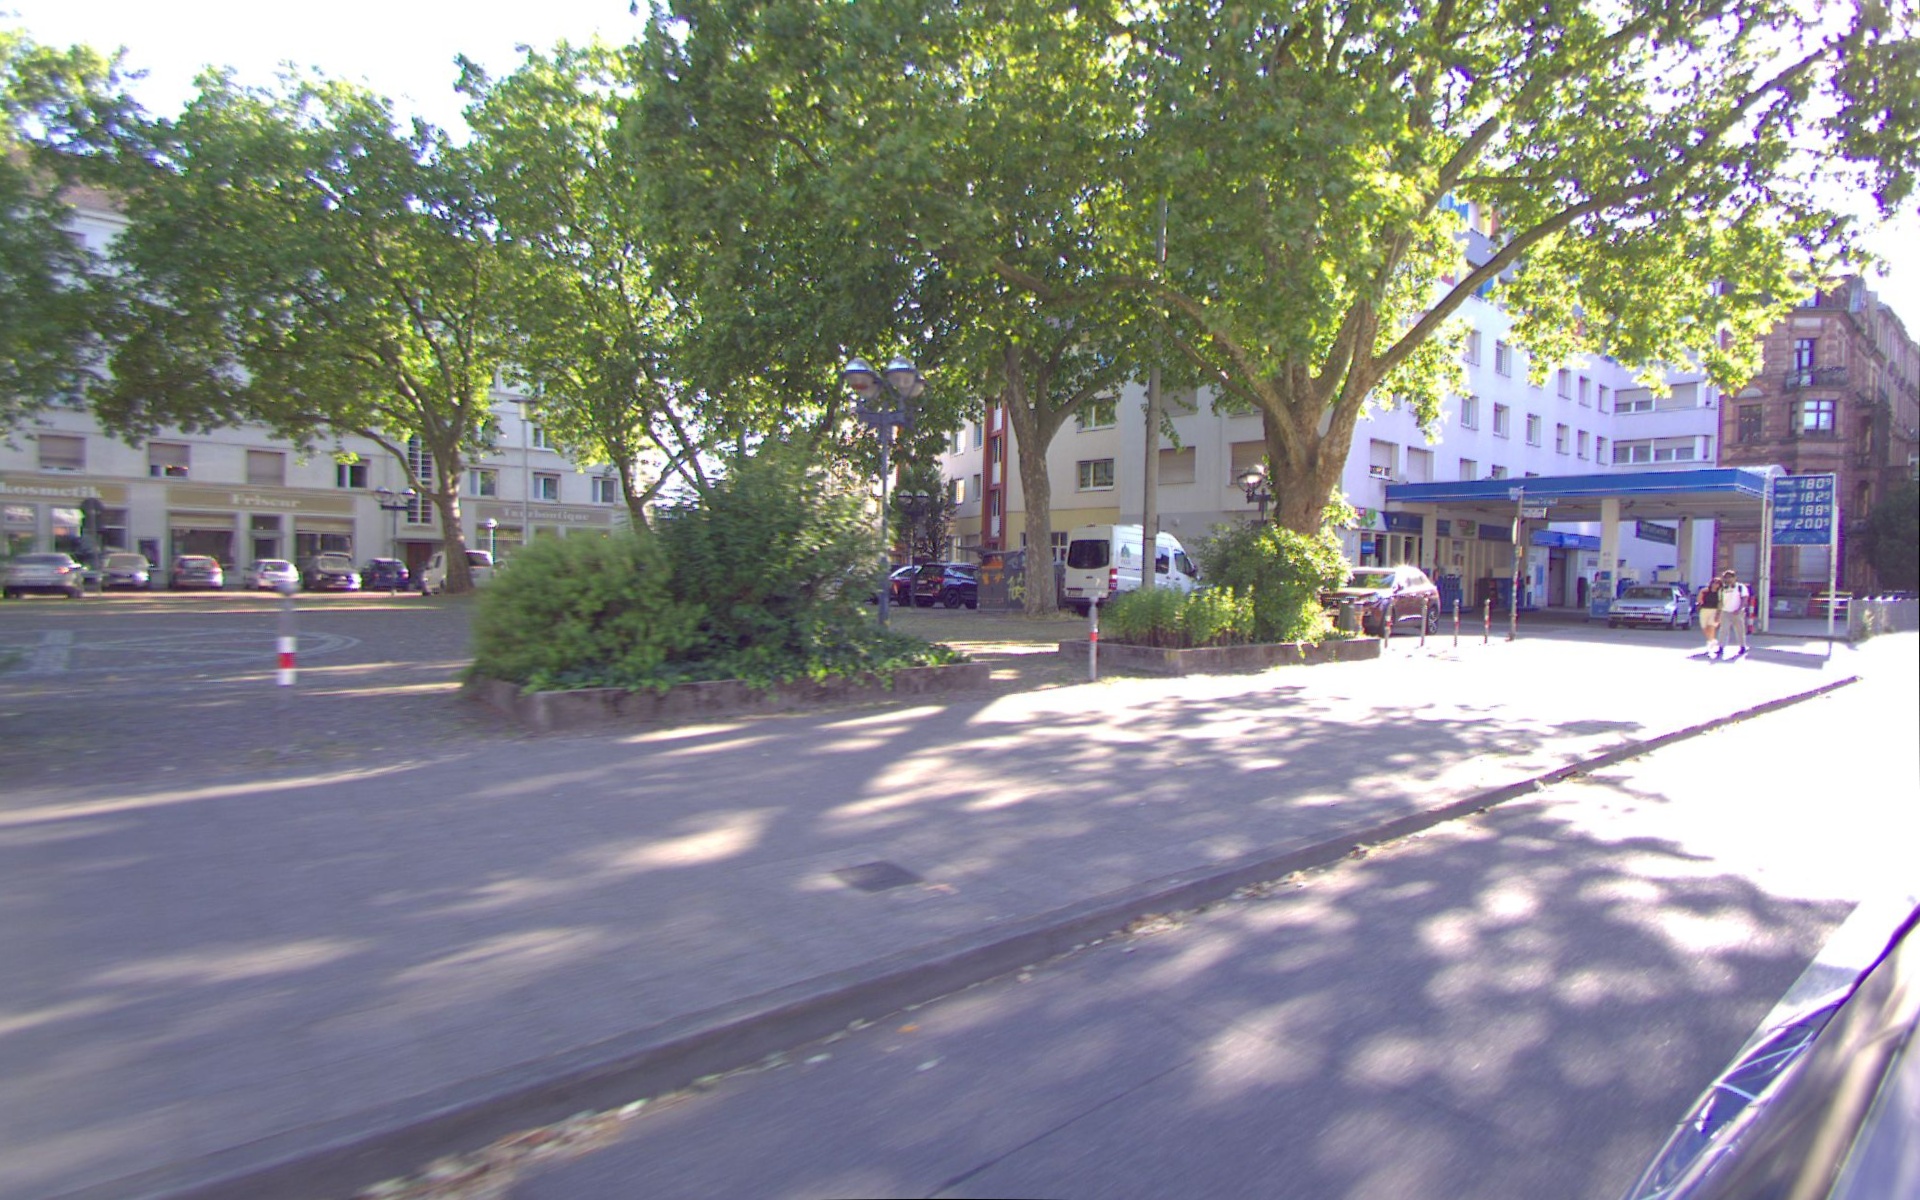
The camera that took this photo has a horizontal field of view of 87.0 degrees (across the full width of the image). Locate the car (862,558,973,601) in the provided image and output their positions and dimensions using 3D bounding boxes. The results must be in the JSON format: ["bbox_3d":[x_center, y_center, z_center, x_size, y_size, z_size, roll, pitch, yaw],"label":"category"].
[{"bbox_3d":[-1.552,-0.761,38.335,4.110,1.521,1.707,0,1,-44],"label":"car"}]

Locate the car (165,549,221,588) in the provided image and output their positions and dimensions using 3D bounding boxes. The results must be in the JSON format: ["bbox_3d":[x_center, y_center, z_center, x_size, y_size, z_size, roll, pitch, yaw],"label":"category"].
[{"bbox_3d":[-33.913,-1.406,44.696,1.748,1.498,4.350,-1,4,-40],"label":"car"}]

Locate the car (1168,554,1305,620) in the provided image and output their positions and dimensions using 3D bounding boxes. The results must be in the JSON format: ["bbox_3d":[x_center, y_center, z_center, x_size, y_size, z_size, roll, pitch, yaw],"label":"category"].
[{"bbox_3d":[7.680,-0.355,27.915,4.110,1.680,1.803,0,1,-44],"label":"car"}]

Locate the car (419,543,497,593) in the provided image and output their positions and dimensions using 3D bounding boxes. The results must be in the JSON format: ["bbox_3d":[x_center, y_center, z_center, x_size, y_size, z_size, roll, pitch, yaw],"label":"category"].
[{"bbox_3d":[-20.966,-1.290,42.202,2.012,1.940,3.994,-1,1,-40],"label":"car"}]

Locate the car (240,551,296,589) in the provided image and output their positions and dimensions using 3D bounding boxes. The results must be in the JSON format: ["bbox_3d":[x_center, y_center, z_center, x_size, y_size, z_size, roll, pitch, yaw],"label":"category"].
[{"bbox_3d":[-32.099,-1.414,46.895,1.748,1.498,4.350,-1,4,-40],"label":"car"}]

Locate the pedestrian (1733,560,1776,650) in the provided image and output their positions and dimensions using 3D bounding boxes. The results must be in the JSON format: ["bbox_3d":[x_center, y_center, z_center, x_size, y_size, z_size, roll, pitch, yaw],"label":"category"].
[{"bbox_3d":[16.726,0.098,21.304,0.531,1.867,0.630,0,0,-43],"label":"pedestrian"}]

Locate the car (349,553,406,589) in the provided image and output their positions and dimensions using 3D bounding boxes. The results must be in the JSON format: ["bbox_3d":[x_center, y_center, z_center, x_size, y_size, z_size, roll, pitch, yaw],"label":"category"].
[{"bbox_3d":[-28.896,-1.465,50.160,1.748,1.539,4.350,-1,4,-40],"label":"car"}]

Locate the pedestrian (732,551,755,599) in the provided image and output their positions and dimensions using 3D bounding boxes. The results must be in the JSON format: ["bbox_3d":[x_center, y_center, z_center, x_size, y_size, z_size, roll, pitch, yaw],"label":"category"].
[{"bbox_3d":[-7.386,-0.848,34.530,0.620,1.633,0.540,0,0,-37],"label":"pedestrian"}]

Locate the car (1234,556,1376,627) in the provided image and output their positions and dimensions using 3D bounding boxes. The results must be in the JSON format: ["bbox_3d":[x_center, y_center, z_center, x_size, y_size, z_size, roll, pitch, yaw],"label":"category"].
[{"bbox_3d":[8.963,-0.221,26.118,4.110,1.680,1.803,0,1,-44],"label":"car"}]

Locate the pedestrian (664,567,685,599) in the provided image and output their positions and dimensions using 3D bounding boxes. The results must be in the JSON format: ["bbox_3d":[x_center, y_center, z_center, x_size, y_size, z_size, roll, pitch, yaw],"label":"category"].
[{"bbox_3d":[-11.190,-0.678,39.654,0.627,1.242,0.534,0,0,32],"label":"pedestrian"}]

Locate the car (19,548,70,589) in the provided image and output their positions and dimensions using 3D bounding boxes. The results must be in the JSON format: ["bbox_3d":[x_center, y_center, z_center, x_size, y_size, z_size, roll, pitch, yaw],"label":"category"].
[{"bbox_3d":[-37.374,-1.292,41.364,1.384,1.498,3.572,-1,4,-40],"label":"car"}]

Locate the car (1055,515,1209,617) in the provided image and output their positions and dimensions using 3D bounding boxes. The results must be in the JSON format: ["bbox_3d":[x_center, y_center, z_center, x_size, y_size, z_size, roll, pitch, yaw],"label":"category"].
[{"bbox_3d":[5.118,-0.962,29.768,4.632,2.776,1.997,-1,0,-41],"label":"car"}]

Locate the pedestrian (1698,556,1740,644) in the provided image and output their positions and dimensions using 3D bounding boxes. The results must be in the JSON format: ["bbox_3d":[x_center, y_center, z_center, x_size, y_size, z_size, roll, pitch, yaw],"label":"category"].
[{"bbox_3d":[16.424,-0.008,21.908,0.531,1.867,0.630,0,0,-43],"label":"pedestrian"}]

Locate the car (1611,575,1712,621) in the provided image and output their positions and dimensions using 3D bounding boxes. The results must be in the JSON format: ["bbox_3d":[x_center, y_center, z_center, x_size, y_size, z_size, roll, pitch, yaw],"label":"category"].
[{"bbox_3d":[21.744,-0.076,31.336,3.688,1.343,1.719,-1,1,-41],"label":"car"}]

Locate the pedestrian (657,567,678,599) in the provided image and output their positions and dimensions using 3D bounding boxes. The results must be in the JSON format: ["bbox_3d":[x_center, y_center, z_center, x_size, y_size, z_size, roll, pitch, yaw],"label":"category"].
[{"bbox_3d":[-11.646,-0.681,40.267,0.627,1.242,0.534,0,0,32],"label":"pedestrian"}]

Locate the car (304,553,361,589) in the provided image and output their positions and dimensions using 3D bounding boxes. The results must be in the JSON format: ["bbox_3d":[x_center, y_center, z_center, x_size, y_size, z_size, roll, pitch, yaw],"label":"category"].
[{"bbox_3d":[-29.923,-1.387,48.205,1.748,1.498,4.350,-1,4,-40],"label":"car"}]

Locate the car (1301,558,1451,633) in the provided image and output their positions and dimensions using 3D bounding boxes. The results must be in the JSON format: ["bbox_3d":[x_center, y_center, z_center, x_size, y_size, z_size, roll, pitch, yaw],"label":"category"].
[{"bbox_3d":[9.991,-0.115,24.162,4.110,1.620,1.803,0,1,-44],"label":"car"}]

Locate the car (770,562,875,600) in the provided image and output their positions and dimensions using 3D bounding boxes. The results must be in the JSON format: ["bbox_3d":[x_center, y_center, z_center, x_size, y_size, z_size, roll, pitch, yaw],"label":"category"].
[{"bbox_3d":[-5.669,-0.765,42.064,4.110,1.521,1.707,0,1,-44],"label":"car"}]

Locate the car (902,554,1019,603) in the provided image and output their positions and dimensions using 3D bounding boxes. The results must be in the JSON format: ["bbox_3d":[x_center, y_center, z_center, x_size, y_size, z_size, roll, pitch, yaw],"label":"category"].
[{"bbox_3d":[0.060,-0.749,36.400,4.110,1.680,1.803,0,1,-44],"label":"car"}]

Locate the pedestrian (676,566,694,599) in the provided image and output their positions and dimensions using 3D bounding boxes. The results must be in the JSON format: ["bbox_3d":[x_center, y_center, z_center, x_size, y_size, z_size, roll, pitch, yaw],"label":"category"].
[{"bbox_3d":[-10.666,-0.677,39.221,0.618,1.242,0.541,0,0,-18],"label":"pedestrian"}]

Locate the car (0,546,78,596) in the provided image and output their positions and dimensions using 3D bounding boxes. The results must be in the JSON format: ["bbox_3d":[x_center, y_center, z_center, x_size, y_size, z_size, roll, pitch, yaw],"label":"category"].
[{"bbox_3d":[-30.306,-0.925,33.281,1.888,1.541,3.994,-1,1,-40],"label":"car"}]

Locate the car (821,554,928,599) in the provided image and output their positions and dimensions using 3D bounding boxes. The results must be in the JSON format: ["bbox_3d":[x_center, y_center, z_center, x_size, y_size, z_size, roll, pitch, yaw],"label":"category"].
[{"bbox_3d":[-3.376,-0.921,40.506,4.110,1.681,1.707,0,1,-44],"label":"car"}]

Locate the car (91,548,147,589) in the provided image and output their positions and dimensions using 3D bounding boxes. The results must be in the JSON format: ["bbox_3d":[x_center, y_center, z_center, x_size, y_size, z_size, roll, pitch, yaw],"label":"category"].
[{"bbox_3d":[-35.612,-1.368,42.855,1.748,1.498,4.350,-1,4,-40],"label":"car"}]
